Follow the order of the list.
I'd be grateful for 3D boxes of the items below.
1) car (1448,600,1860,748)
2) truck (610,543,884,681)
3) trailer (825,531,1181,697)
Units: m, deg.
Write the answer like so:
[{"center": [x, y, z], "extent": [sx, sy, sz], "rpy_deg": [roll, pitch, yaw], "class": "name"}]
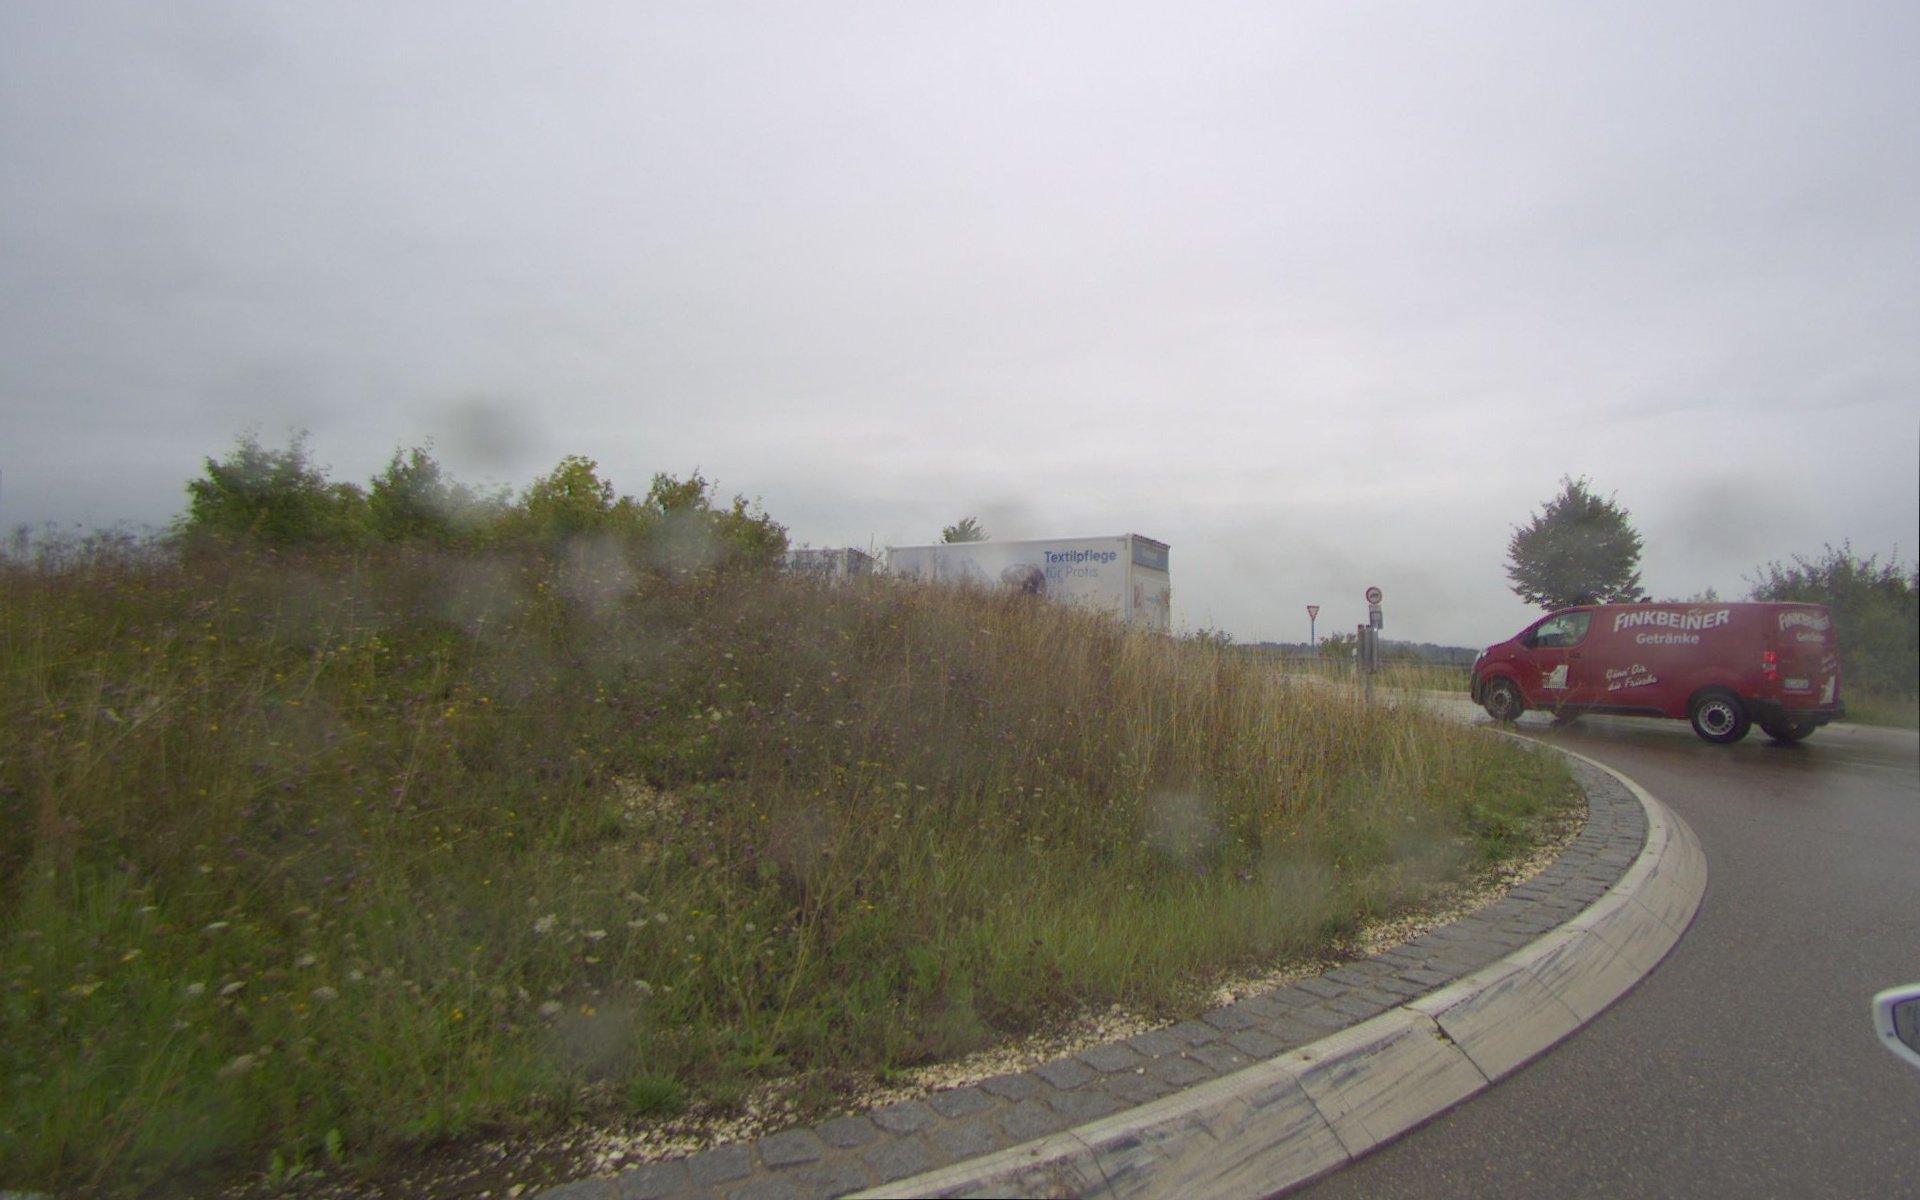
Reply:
[{"center": [10.377, 0.997, 15.544], "extent": [1.973, 1.895, 4.947], "rpy_deg": [2, -1, -25], "class": "car"}, {"center": [-6.344, 0.349, 30.329], "extent": [7.533, 3.869, 2.811], "rpy_deg": [0, -2, 12], "class": "truck"}, {"center": [0.918, 0.405, 27.208], "extent": [9.549, 3.869, 2.834], "rpy_deg": [0, -2, 33], "class": "trailer"}]
